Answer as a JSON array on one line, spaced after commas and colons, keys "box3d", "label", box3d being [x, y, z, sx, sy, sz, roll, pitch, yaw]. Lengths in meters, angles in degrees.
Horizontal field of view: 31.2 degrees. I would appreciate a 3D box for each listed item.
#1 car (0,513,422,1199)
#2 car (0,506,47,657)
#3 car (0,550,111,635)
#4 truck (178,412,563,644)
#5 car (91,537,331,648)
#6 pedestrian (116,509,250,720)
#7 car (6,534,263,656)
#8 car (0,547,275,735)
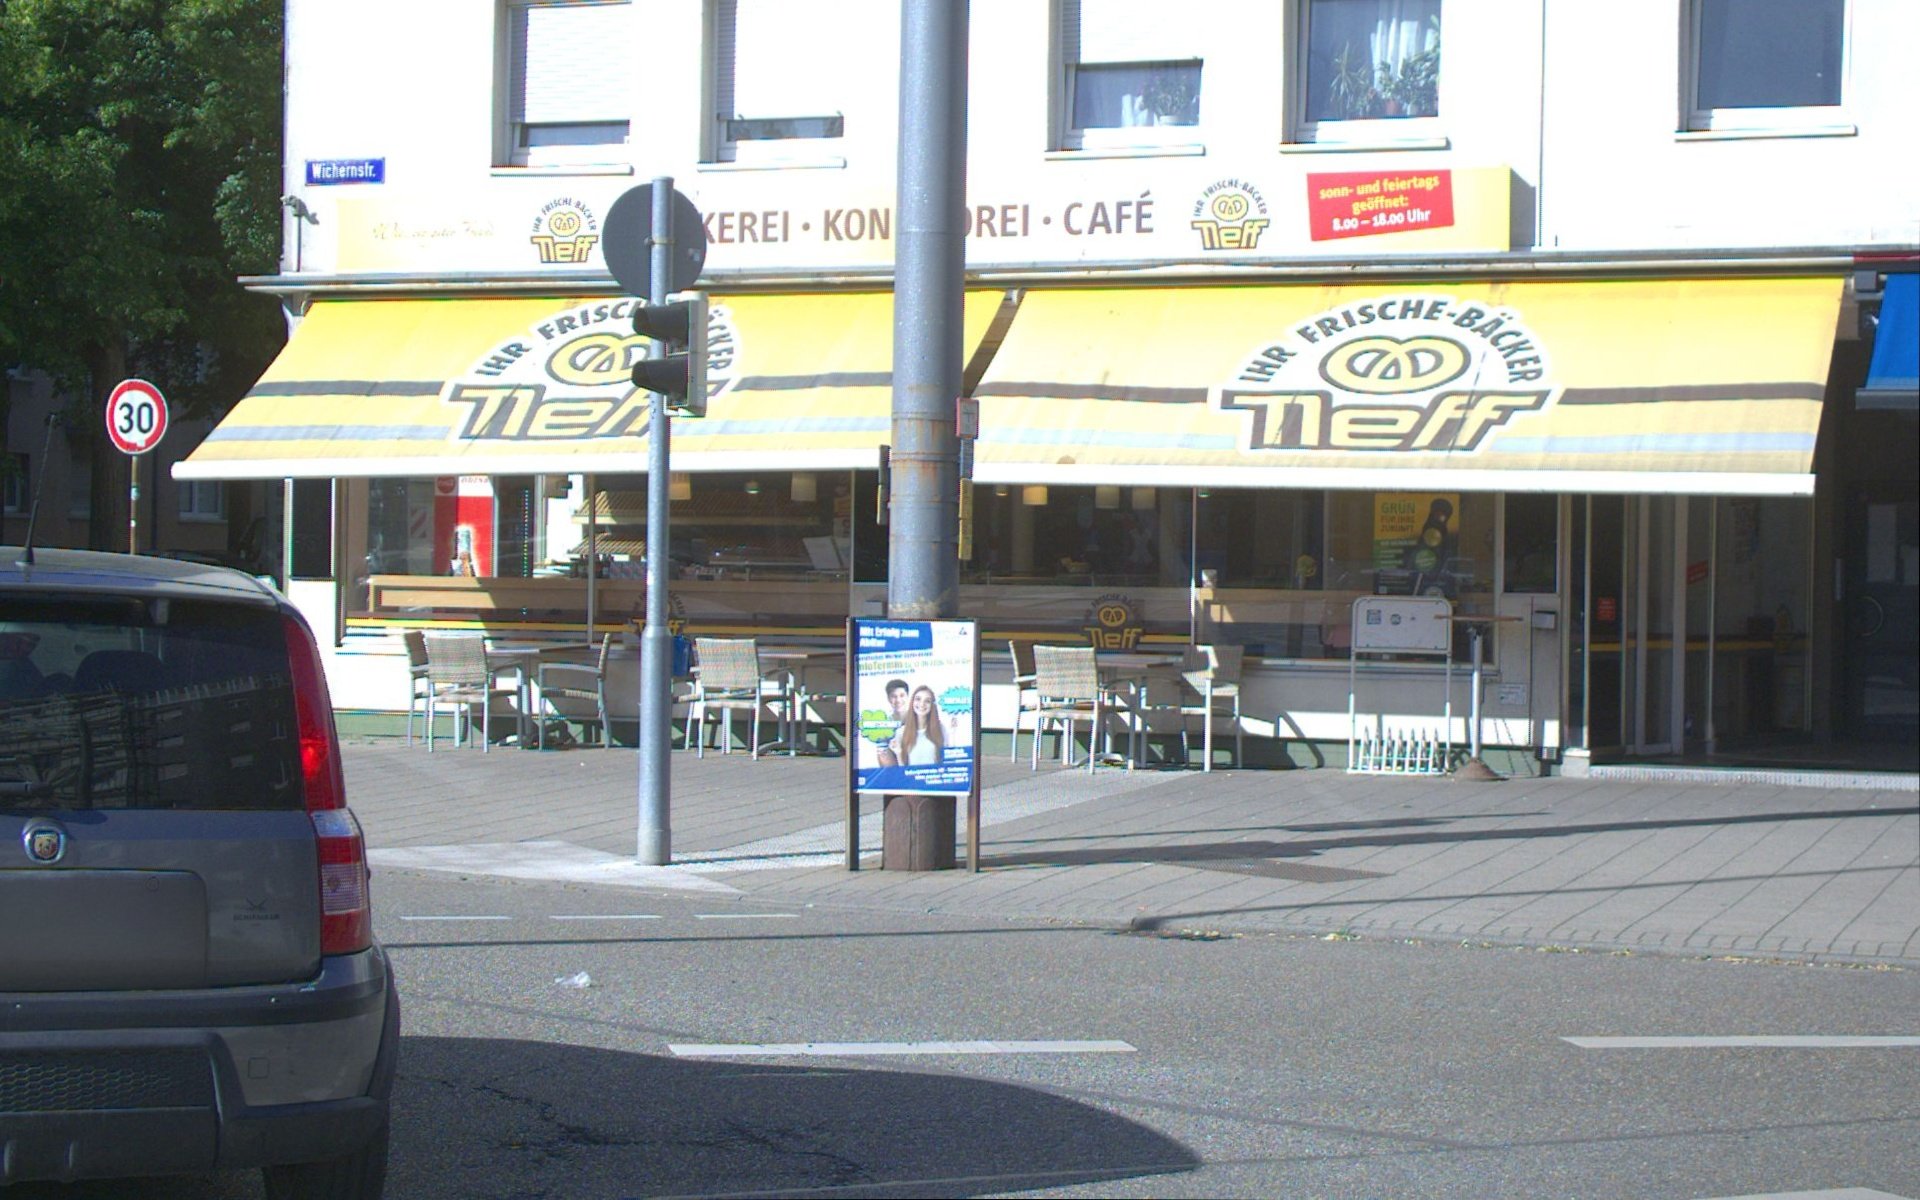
[{"box3d": [-2.501, 0.575, 8.312, 1.615, 1.556, 3.258, 1, 1, -23], "label": "car"}, {"box3d": [-13.489, -0.287, 44.086, 1.930, 1.867, 4.502, 1, 1, -36], "label": "car"}, {"box3d": [-15.149, -0.105, 53.469, 1.765, 1.290, 4.410, 0, 0, 17], "label": "car"}, {"box3d": [-9.061, -1.070, 52.158, 2.539, 3.282, 7.324, 0, 1, -38], "label": "truck"}, {"box3d": [-10.954, -0.132, 50.073, 1.808, 1.502, 4.343, 1, 1, -36], "label": "car"}, {"box3d": [-6.452, 0.110, 28.571, 0.760, 1.716, 0.744, 1, 1, 26], "label": "pedestrian"}, {"box3d": [-11.067, -0.091, 45.921, 1.808, 1.502, 4.343, 1, 1, -36], "label": "car"}, {"box3d": [-7.765, 0.304, 29.678, 1.721, 1.492, 4.018, 1, 1, 21], "label": "car"}]
